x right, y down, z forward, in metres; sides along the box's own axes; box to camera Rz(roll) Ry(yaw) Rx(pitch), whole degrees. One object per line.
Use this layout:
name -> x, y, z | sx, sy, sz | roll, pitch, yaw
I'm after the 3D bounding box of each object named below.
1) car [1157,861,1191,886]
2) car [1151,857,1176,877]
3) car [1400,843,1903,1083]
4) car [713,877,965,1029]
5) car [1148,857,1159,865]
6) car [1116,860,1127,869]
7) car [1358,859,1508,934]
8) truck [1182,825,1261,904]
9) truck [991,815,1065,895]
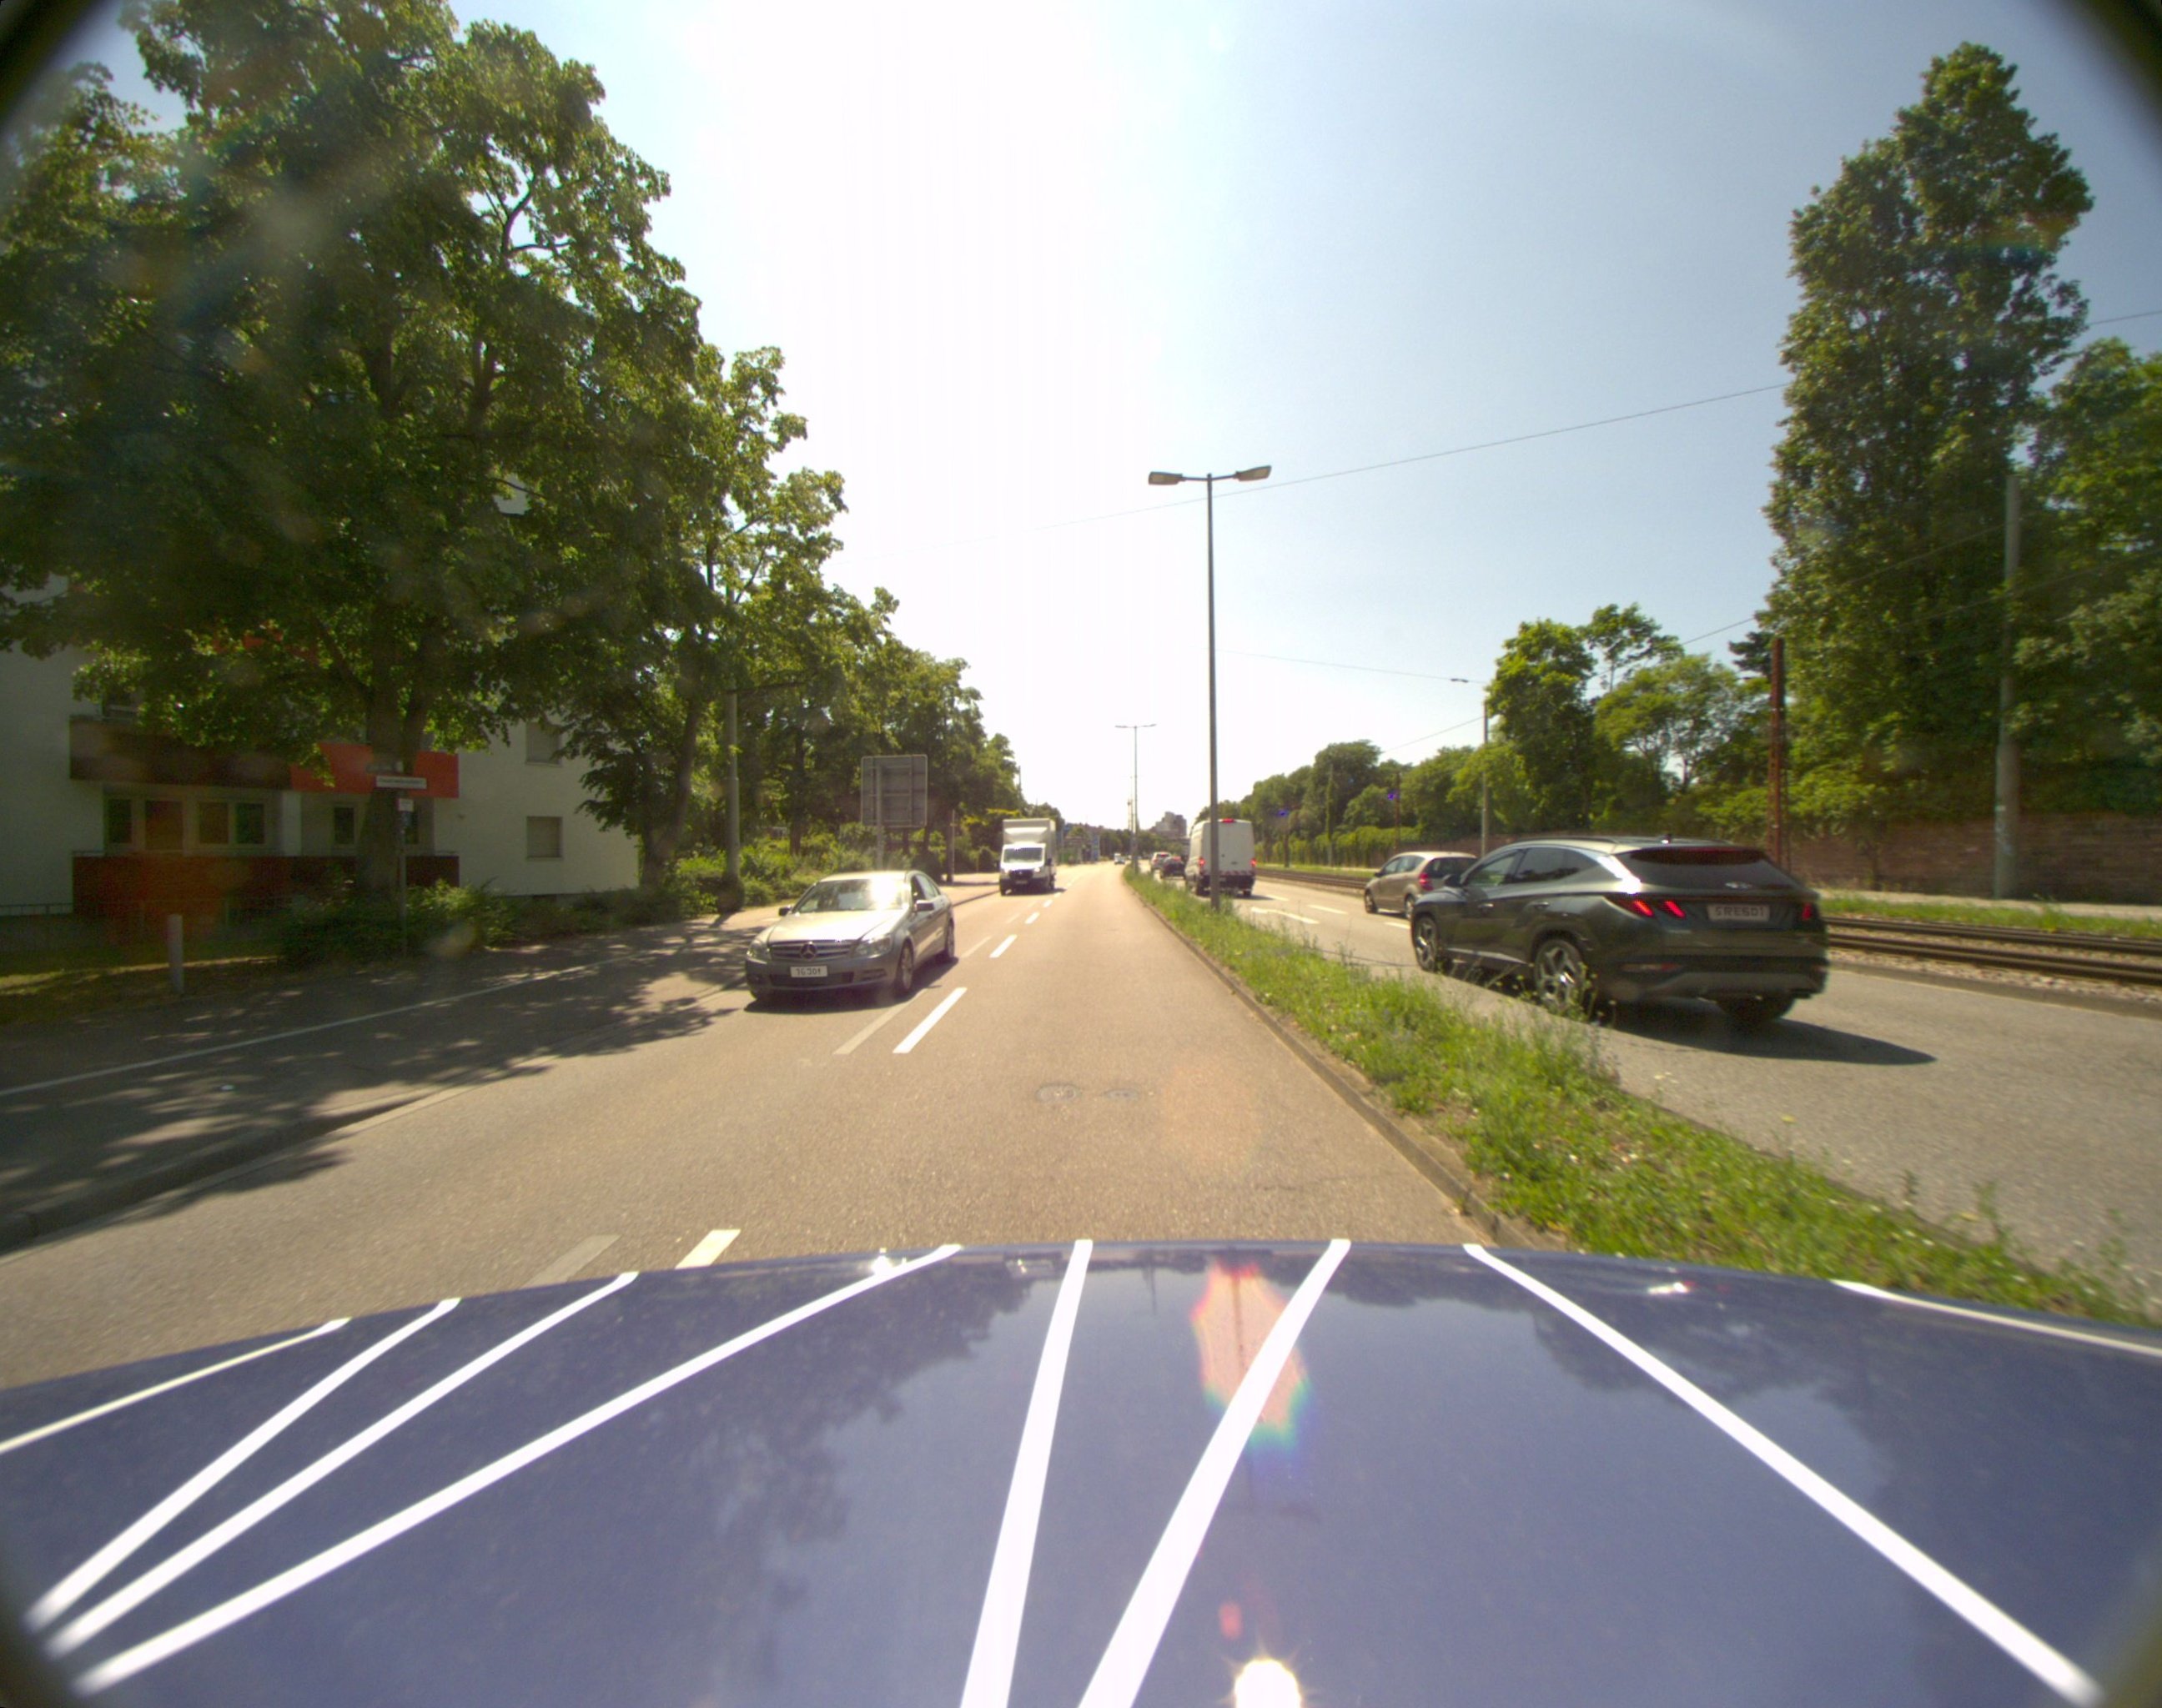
car -> 5.850, 1.203, 48.094 | 1.720, 1.450, 3.914 | 0, 0, 1
car -> 7.339, 1.153, 68.292 | 1.904, 1.738, 4.588 | 0, 0, 2
car -> 5.138, 0.813, 7.834 | 1.833, 1.746, 4.488 | 1, 0, 1
car -> -2.852, 1.102, 9.984 | 1.903, 1.451, 3.972 | -2, 0, 1
car -> 12.935, 1.277, 135.792 | 1.698, 1.462, 3.792 | 0, 0, 4
car -> 7.253, 1.938, 135.665 | 1.829, 1.556, 4.001 | -1, 0, 4
car -> 8.234, 0.932, 18.166 | 1.834, 1.576, 3.771 | 1, 0, 0
truck -> 5.239, 0.370, 29.170 | 2.086, 2.732, 5.547 | 0, 0, 1
truck -> -2.273, 0.027, 35.554 | 2.294, 3.259, 8.314 | -1, 0, 4
